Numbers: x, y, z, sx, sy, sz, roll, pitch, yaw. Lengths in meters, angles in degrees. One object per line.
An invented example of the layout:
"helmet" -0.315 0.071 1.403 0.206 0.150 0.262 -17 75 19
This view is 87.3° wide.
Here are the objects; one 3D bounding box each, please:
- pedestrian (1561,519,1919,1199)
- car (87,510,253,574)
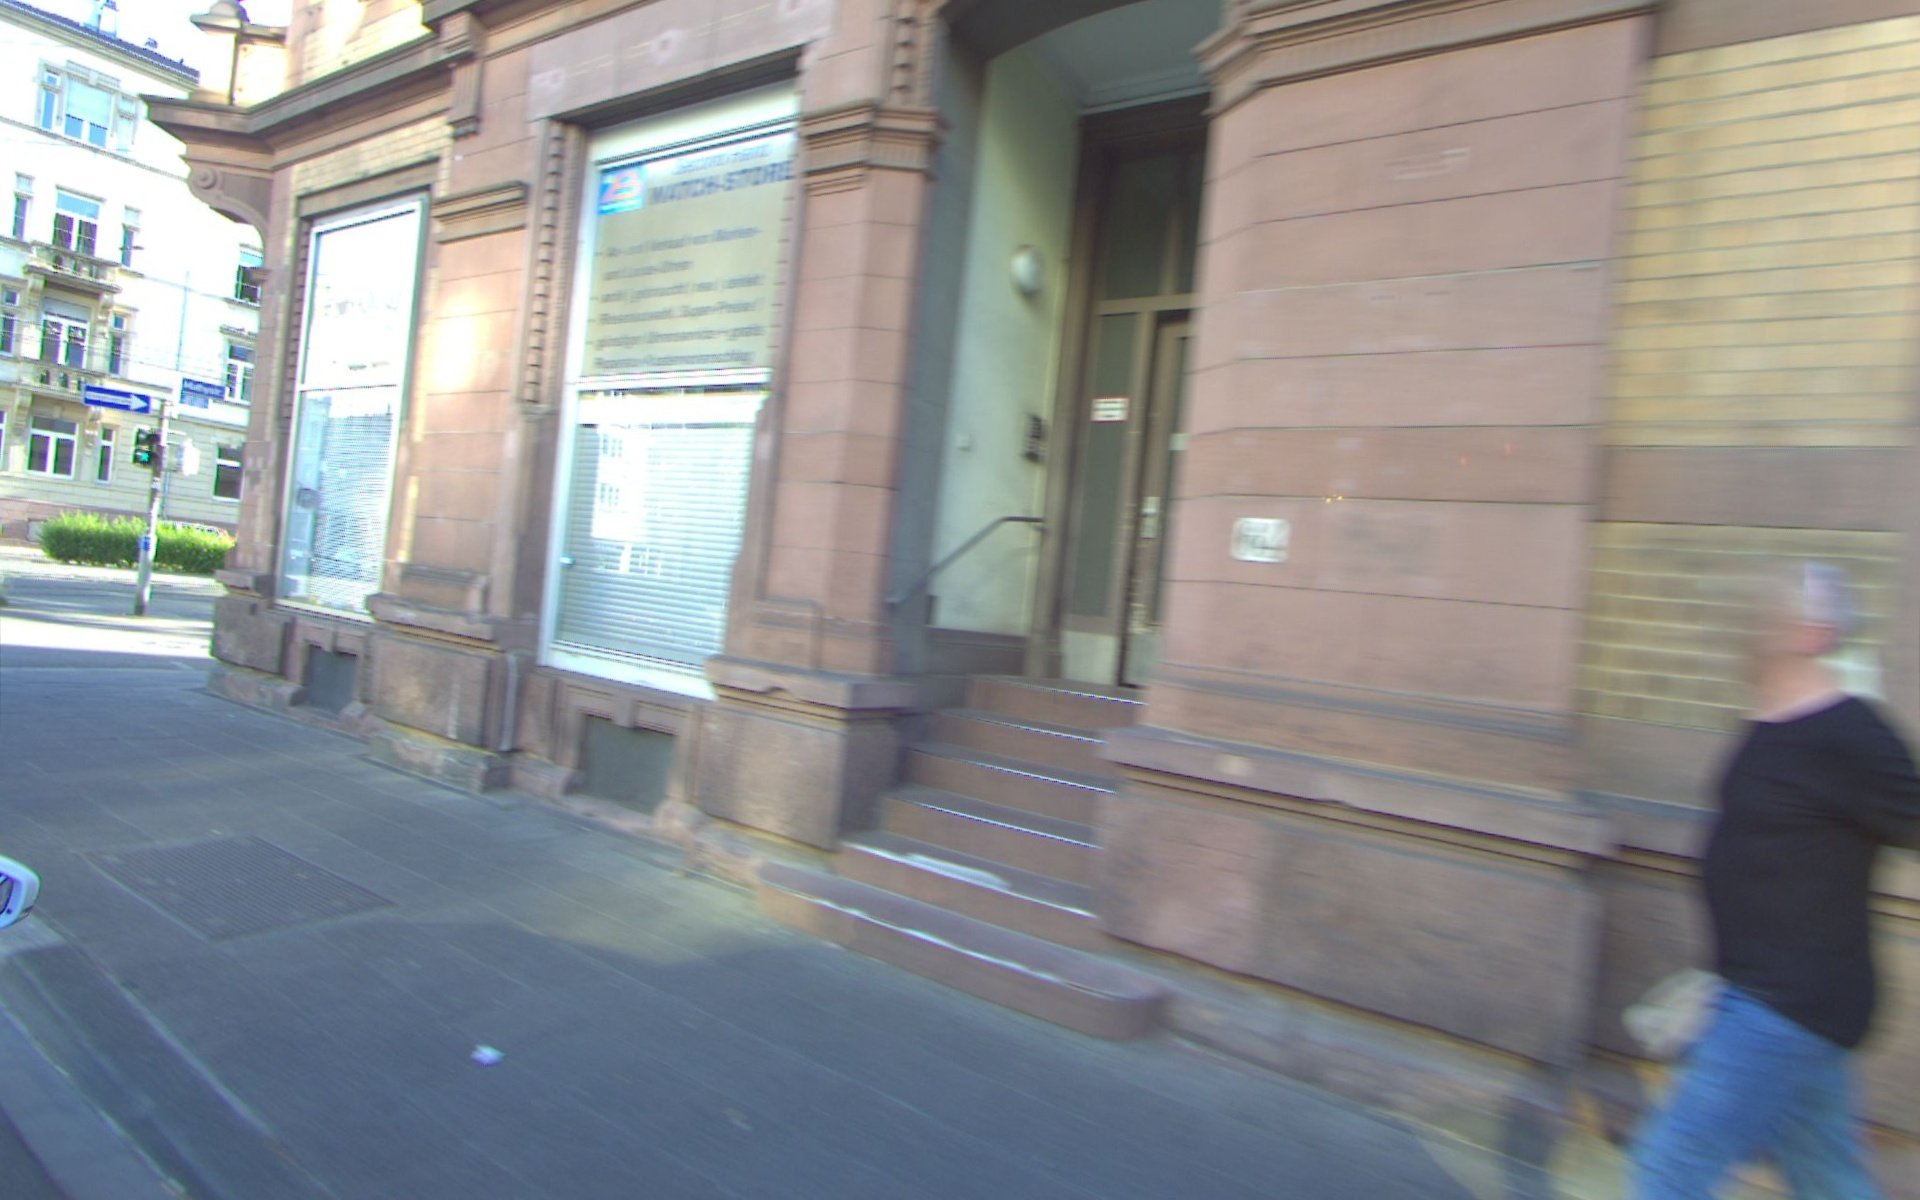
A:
"pedestrian" 1.758 0.764 2.094 0.742 1.745 0.775 6 2 33
"car" -27.817 -2.018 35.525 1.918 1.651 4.253 5 -2 41
